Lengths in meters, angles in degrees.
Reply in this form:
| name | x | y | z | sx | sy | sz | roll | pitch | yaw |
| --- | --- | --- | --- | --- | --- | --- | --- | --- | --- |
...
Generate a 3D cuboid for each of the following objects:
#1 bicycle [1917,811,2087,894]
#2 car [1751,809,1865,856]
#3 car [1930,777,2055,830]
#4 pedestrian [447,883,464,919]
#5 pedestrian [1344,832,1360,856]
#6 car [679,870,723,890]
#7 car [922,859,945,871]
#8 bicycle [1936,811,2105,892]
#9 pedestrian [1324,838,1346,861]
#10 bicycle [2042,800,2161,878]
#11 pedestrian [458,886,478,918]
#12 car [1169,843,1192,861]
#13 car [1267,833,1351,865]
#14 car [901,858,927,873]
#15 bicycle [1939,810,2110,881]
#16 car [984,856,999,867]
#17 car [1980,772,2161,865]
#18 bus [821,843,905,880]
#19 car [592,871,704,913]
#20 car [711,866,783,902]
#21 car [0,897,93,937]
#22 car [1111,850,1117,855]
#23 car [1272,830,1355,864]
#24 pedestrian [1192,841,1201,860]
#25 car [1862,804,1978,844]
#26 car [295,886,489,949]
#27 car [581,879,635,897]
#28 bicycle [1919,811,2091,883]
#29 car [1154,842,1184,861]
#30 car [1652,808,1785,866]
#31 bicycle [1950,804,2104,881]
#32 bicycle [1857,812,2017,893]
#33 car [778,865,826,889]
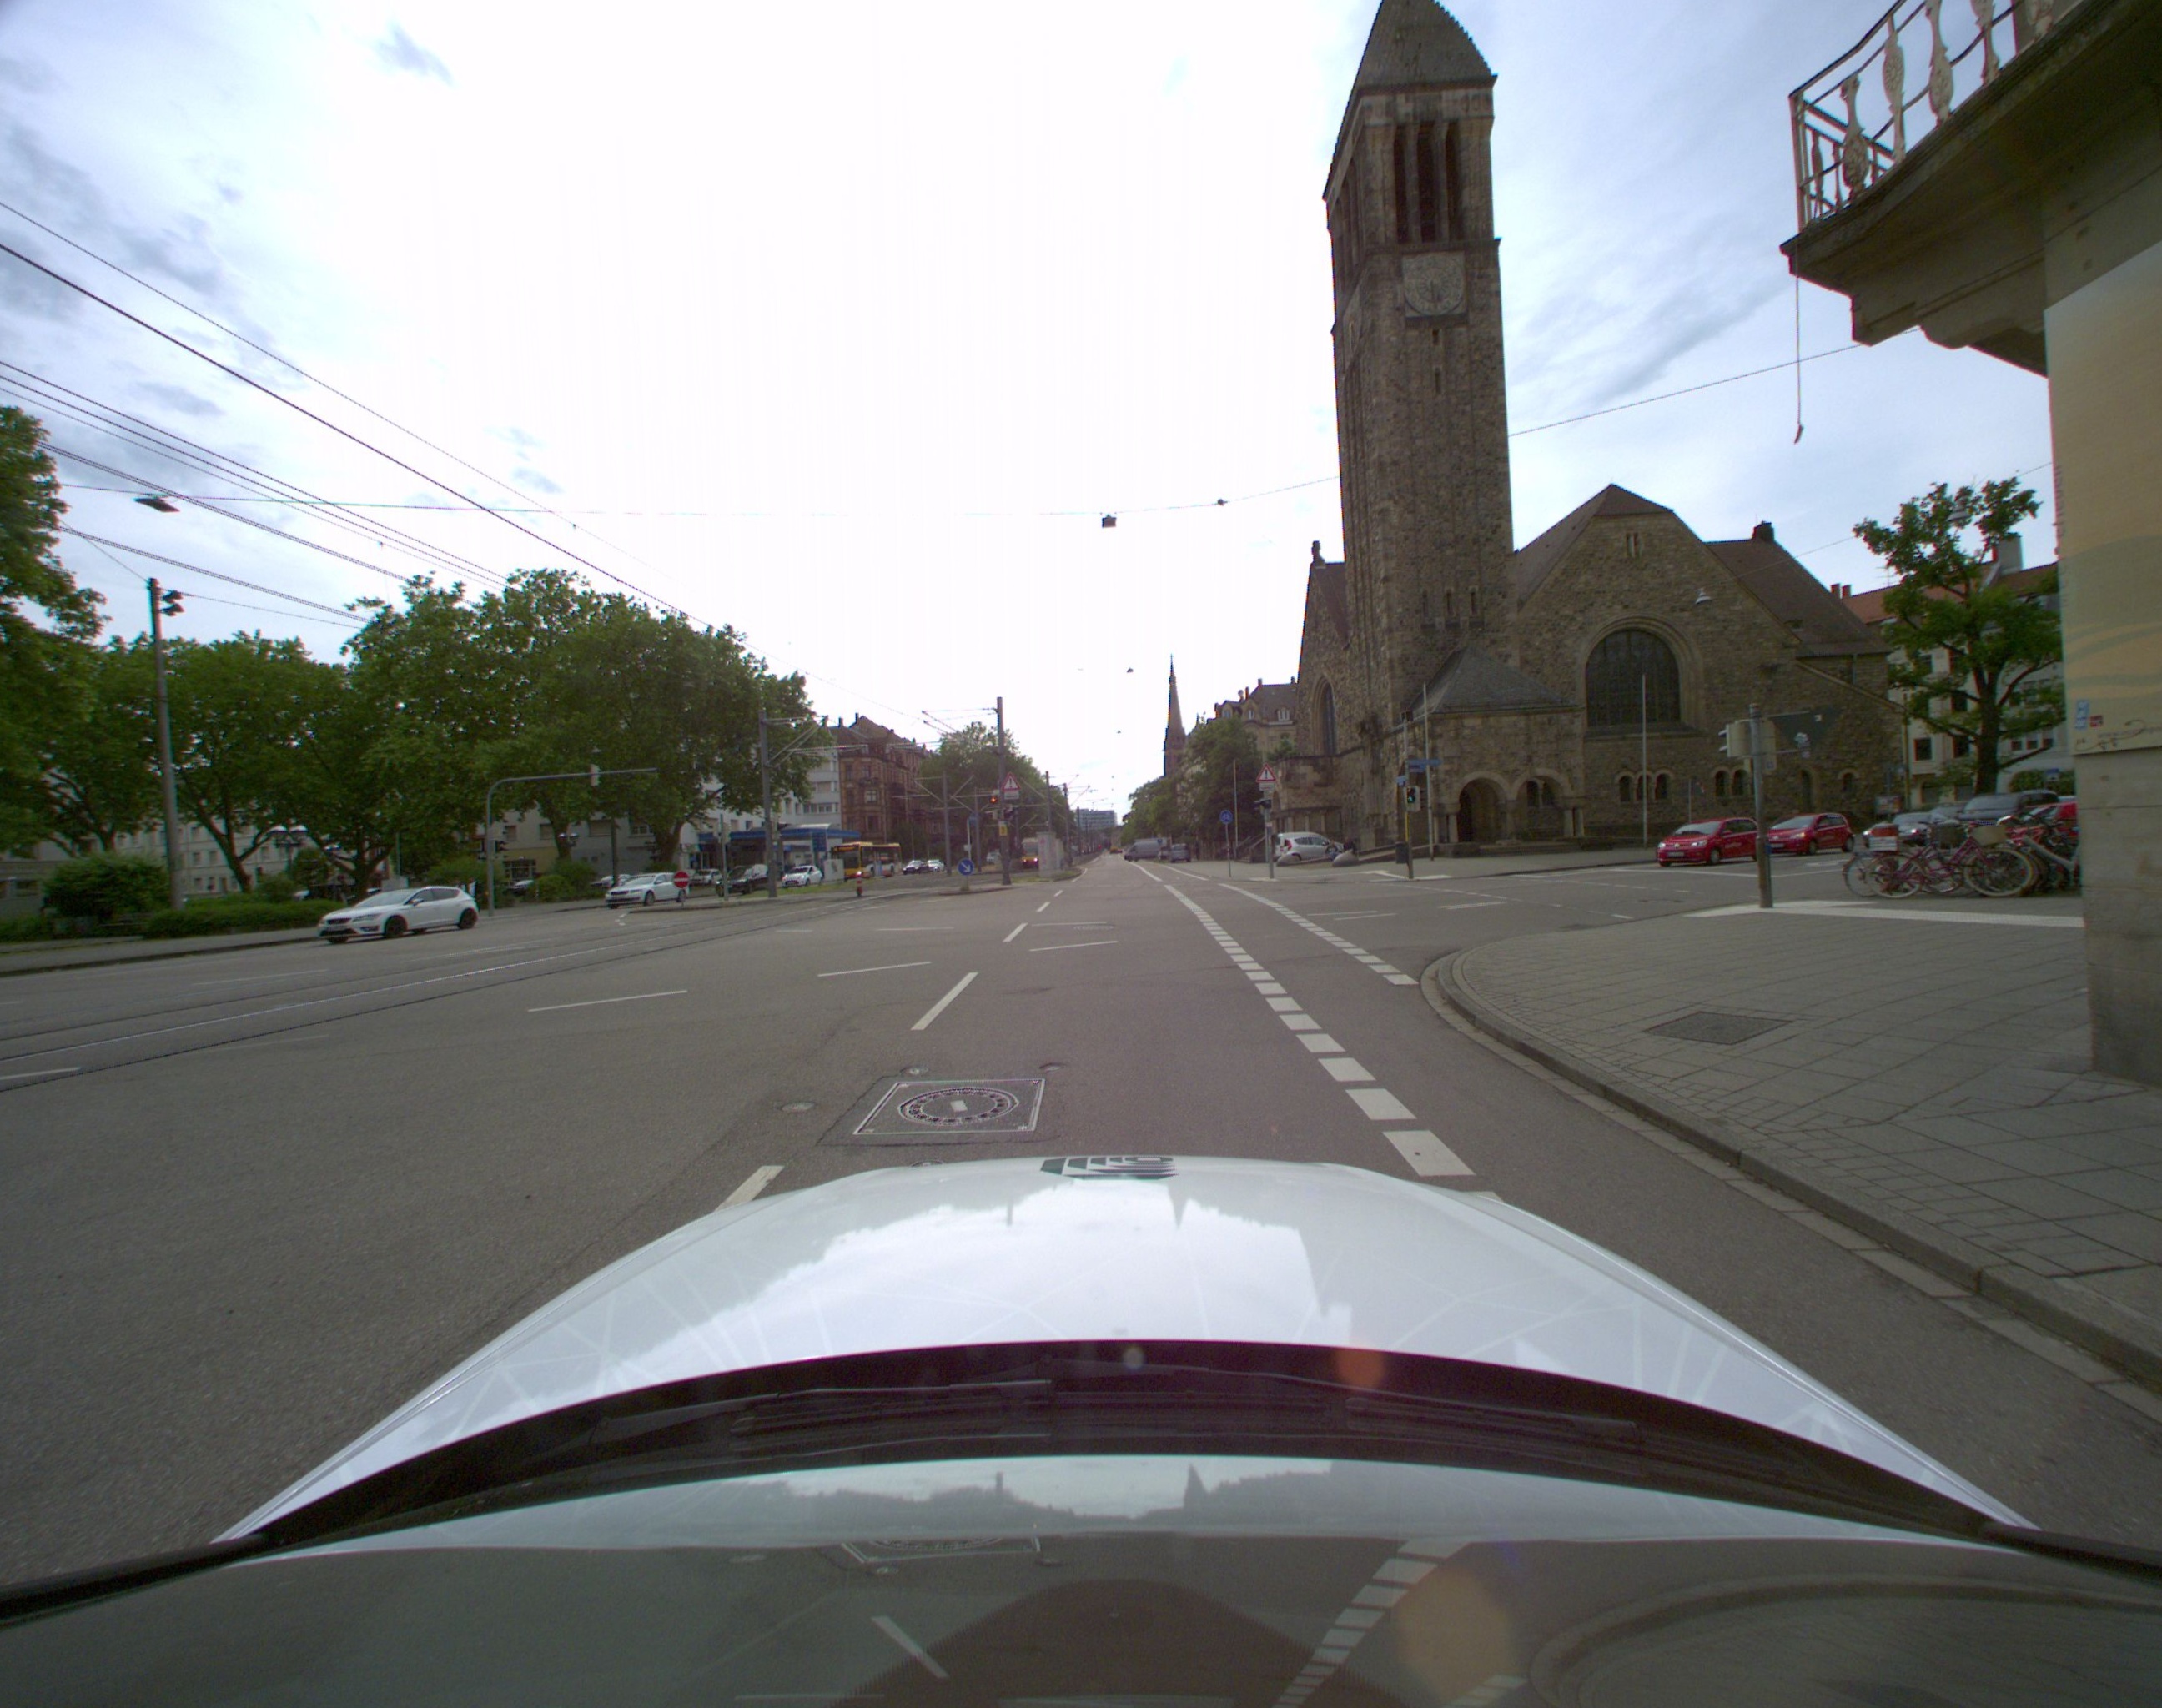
| name | x | y | z | sx | sy | sz | roll | pitch | yaw |
| --- | --- | --- | --- | --- | --- | --- | --- | --- | --- |
| bicycle | 13.836 | 0.010 | 12.293 | 0.477 | 1.127 | 1.560 | -2 | -3 | -23 |
| car | 25.853 | -0.773 | 28.954 | 3.723 | 1.457 | 1.594 | -3 | -2 | -24 |
| car | 38.588 | -2.146 | 34.456 | 5.289 | 1.954 | 1.904 | -4 | 1 | -23 |
| pedestrian | -26.571 | 1.993 | 34.586 | 0.360 | 1.478 | 0.373 | -3 | 0 | -4 |
| pedestrian | 14.399 | -0.547 | 43.311 | 0.731 | 1.228 | 1.067 | -2 | 0 | 17 |
| car | -29.697 | 2.042 | 63.794 | 1.695 | 1.358 | 3.407 | -2 | 0 | 3 |
| car | -16.689 | 1.258 | 92.190 | 1.695 | 1.221 | 3.893 | -2 | 0 | 3 |
| bicycle | 14.332 | -0.005 | 12.485 | 0.477 | 1.127 | 1.560 | -2 | -3 | -23 |
| pedestrian | 13.444 | -0.245 | 43.091 | 0.734 | 1.191 | 1.494 | -2 | 0 | 2 |
| bicycle | 16.935 | -0.239 | 13.104 | 0.496 | 1.172 | 1.771 | -2 | -3 | -23 |
| pedestrian | -26.056 | 2.040 | 34.628 | 0.454 | 1.326 | 0.469 | -3 | 0 | -4 |
| car | 8.775 | -0.174 | 72.168 | 1.695 | 1.459 | 3.893 | -2 | 0 | 3 |
| car | 13.017 | -0.281 | 46.637 | 4.332 | 1.636 | 1.663 | -2 | 0 | 1 |
| car | -17.401 | 1.185 | 85.196 | 1.695 | 1.358 | 3.893 | -2 | 0 | 3 |
| bicycle | 15.560 | -0.105 | 13.493 | 0.477 | 1.039 | 1.725 | -2 | -3 | -23 |
| car | -14.493 | 1.222 | 132.051 | 1.695 | 1.712 | 3.893 | -2 | 0 | 3 |
| car | 19.778 | -0.699 | 15.046 | 3.789 | 1.561 | 1.804 | -4 | -1 | 21 |
| bus | -18.425 | 0.539 | 70.030 | 3.268 | 2.856 | 12.390 | -2 | 0 | 3 |
| car | -19.490 | 1.658 | 37.040 | 1.834 | 1.525 | 5.706 | -2 | 0 | 2 |
| car | -18.860 | 1.654 | 46.227 | 1.695 | 1.783 | 5.153 | -2 | 0 | 3 |
| car | -64.734 | 3.910 | 49.984 | 4.825 | 2.101 | 2.073 | -3 | 0 | -15 |
| car | 10.444 | -0.560 | 259.635 | 1.798 | 1.341 | 4.001 | -3 | 0 | 1 |
| car | 14.232 | -0.427 | 50.036 | 4.593 | 1.881 | 1.663 | -2 | 0 | 1 |
| pedestrian | 10.754 | -0.325 | 75.558 | 0.772 | 1.647 | 0.800 | -2 | 0 | 8 |
| car | 32.463 | -1.165 | 31.517 | 4.045 | 1.286 | 1.697 | -3 | -2 | -22 |
| car | -20.143 | 1.799 | 24.132 | 1.835 | 1.448 | 4.416 | -2 | 0 | 2 |
| car | -37.555 | 2.671 | 64.784 | 1.721 | 1.174 | 4.011 | -3 | 0 | 2 |
| bicycle | 14.956 | -0.080 | 13.254 | 0.477 | 1.039 | 1.725 | -2 | -3 | -23 |
| car | 8.881 | -0.229 | 82.330 | 2.197 | 1.745 | 5.029 | -3 | 0 | -3 |
| car | 20.628 | -0.556 | 26.346 | 3.898 | 1.528 | 1.641 | -4 | -1 | -23 |
| bicycle | 15.980 | -0.162 | 13.814 | 0.477 | 1.172 | 1.560 | -2 | -3 | -23 |
| bicycle | 13.118 | 0.008 | 12.539 | 0.477 | 1.127 | 1.560 | -2 | -3 | -23 |
| car | -18.623 | 1.500 | 54.569 | 1.695 | 1.398 | 3.893 | -2 | 0 | 3 |
